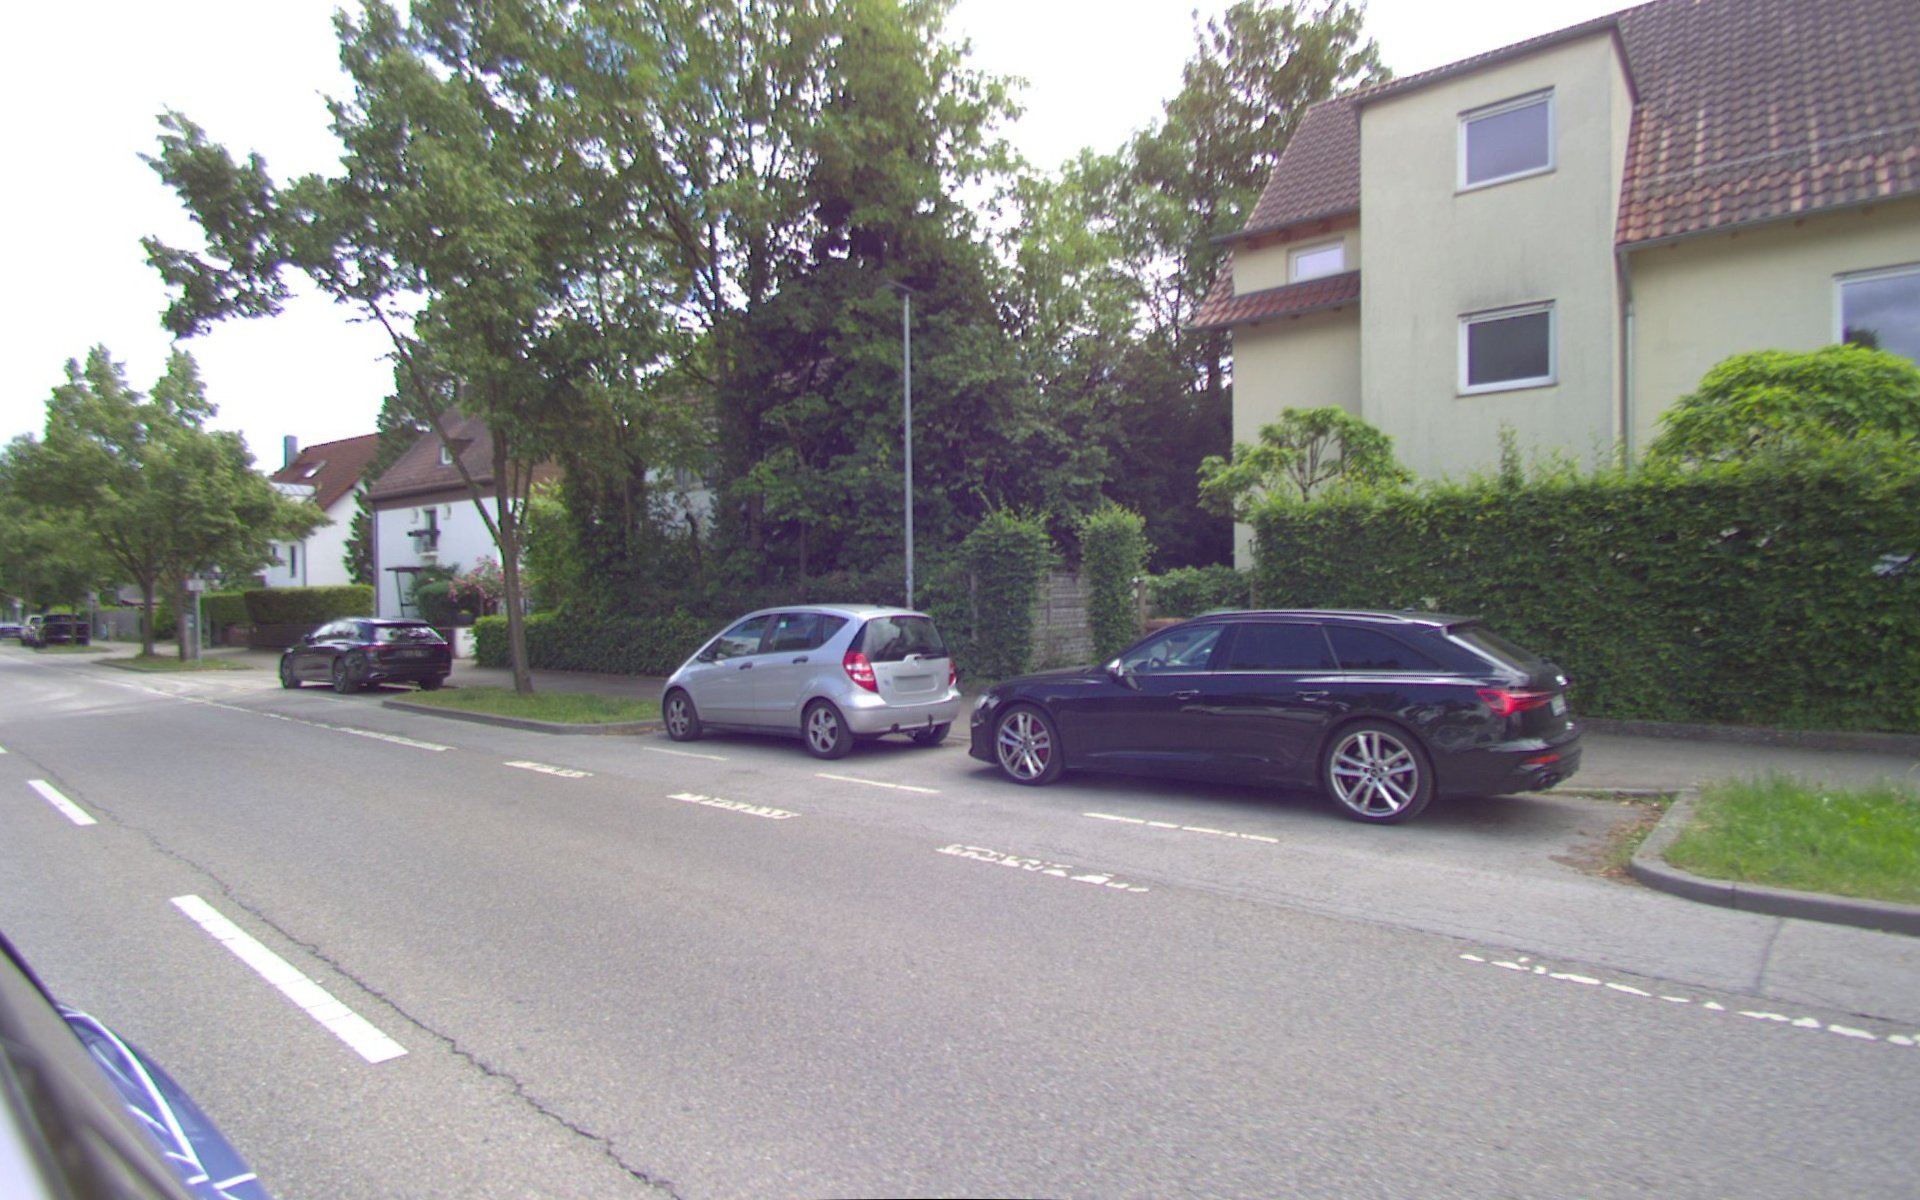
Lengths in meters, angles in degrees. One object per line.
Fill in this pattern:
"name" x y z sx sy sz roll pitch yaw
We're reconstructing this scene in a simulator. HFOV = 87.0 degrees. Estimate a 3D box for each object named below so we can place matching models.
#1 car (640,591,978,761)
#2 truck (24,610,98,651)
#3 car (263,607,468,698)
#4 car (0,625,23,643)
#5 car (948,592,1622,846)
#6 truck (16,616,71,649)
"car" -1.842 0.766 11.620 3.907 1.625 1.700 -1 -1 41
"truck" -48.790 1.641 54.893 5.994 2.059 2.397 -1 0 43
"car" -12.424 1.038 21.034 5.033 1.659 2.074 -2 -2 39
"car" -75.123 2.661 79.541 4.927 1.419 1.727 -1 -2 43
"car" 2.409 0.754 8.278 4.884 1.496 1.974 -1 -1 38
"truck" -54.164 1.895 59.773 5.665 1.882 1.945 -1 -2 44
